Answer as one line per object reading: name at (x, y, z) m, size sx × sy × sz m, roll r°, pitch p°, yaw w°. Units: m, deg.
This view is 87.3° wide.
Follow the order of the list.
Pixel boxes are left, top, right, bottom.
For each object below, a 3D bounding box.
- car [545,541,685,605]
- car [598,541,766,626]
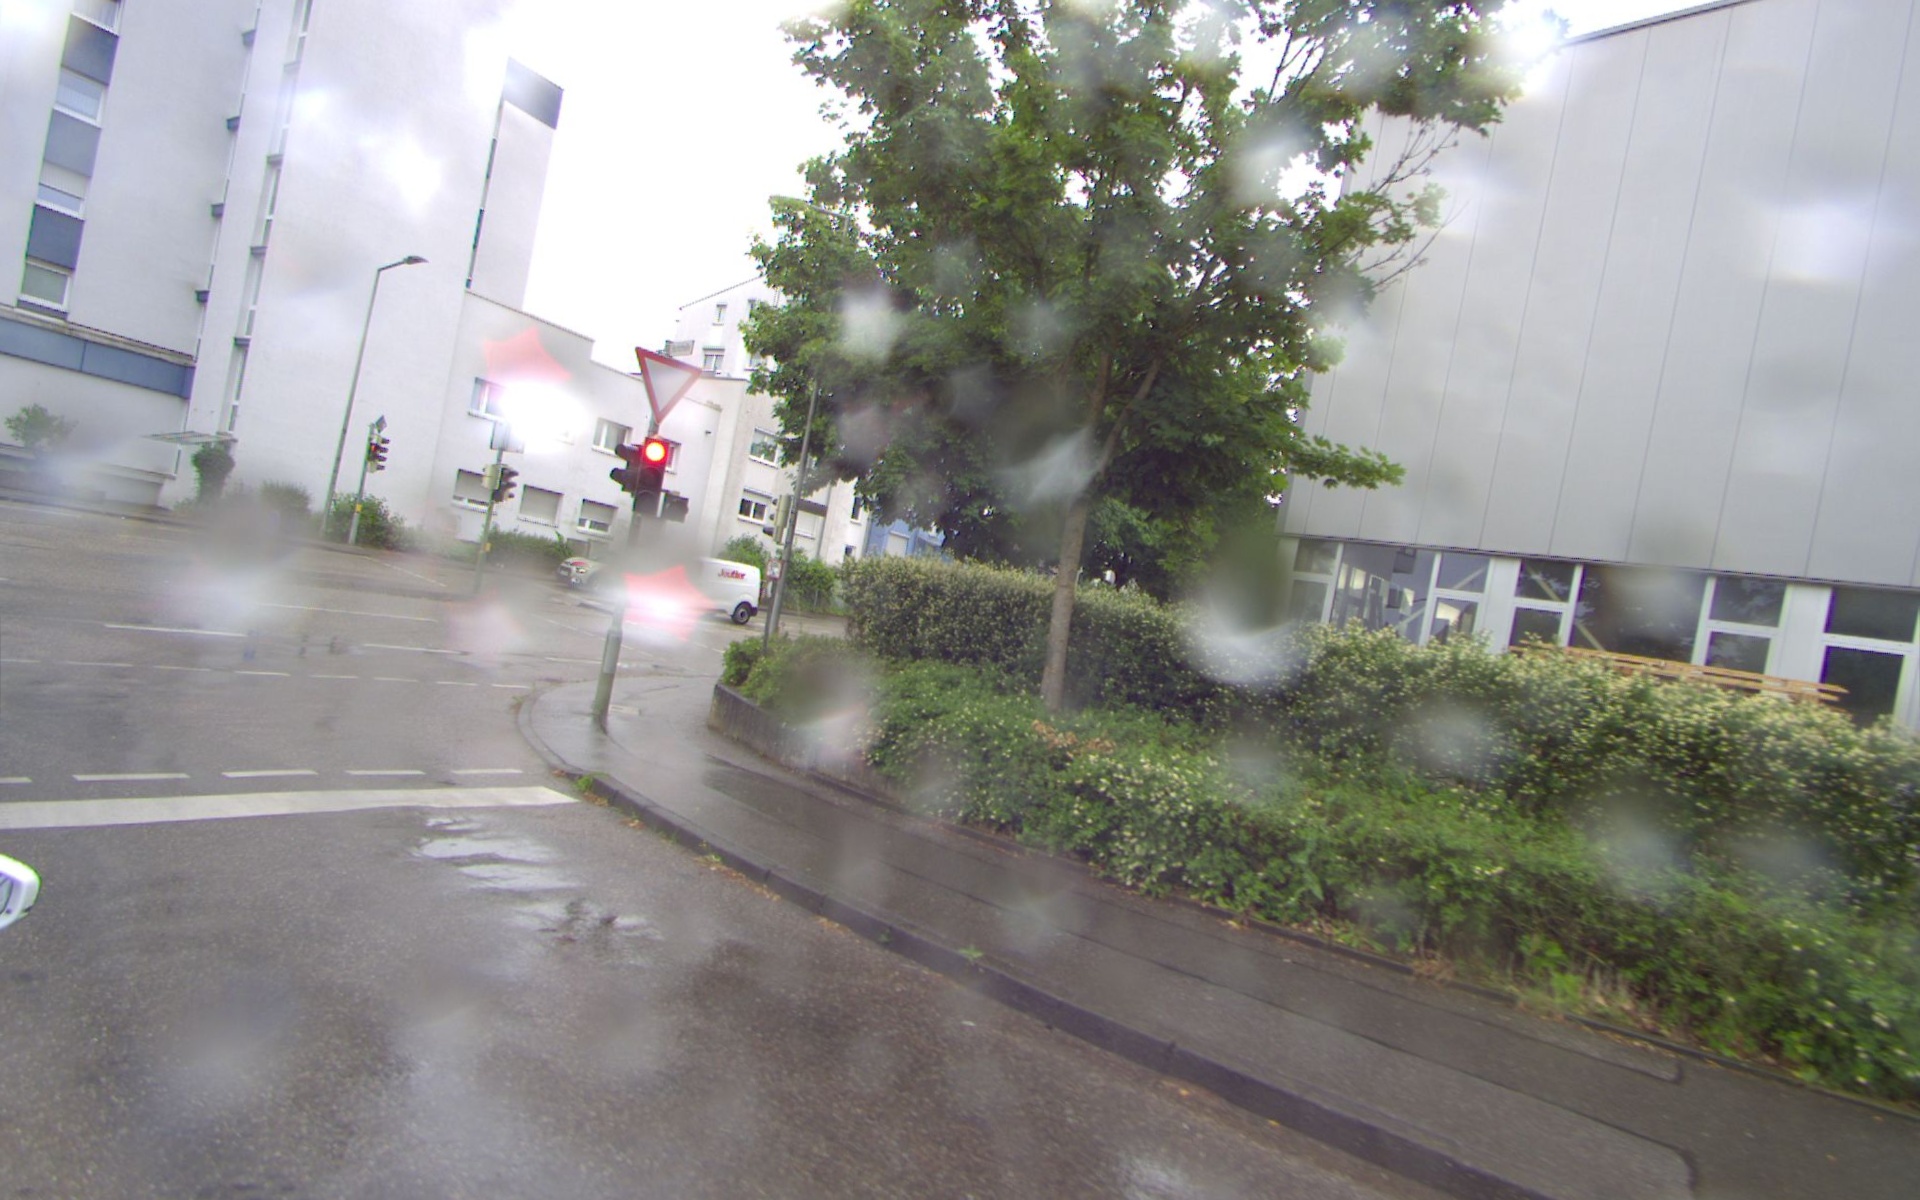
car at (-11.494, -0.872, 33.724) m, size 1.803 × 1.485 × 3.989 m, roll 9°, pitch 0°, yaw 36°
car at (-8.648, -0.468, 31.695) m, size 1.800 × 1.938 × 4.816 m, roll 7°, pitch -2°, yaw 39°
